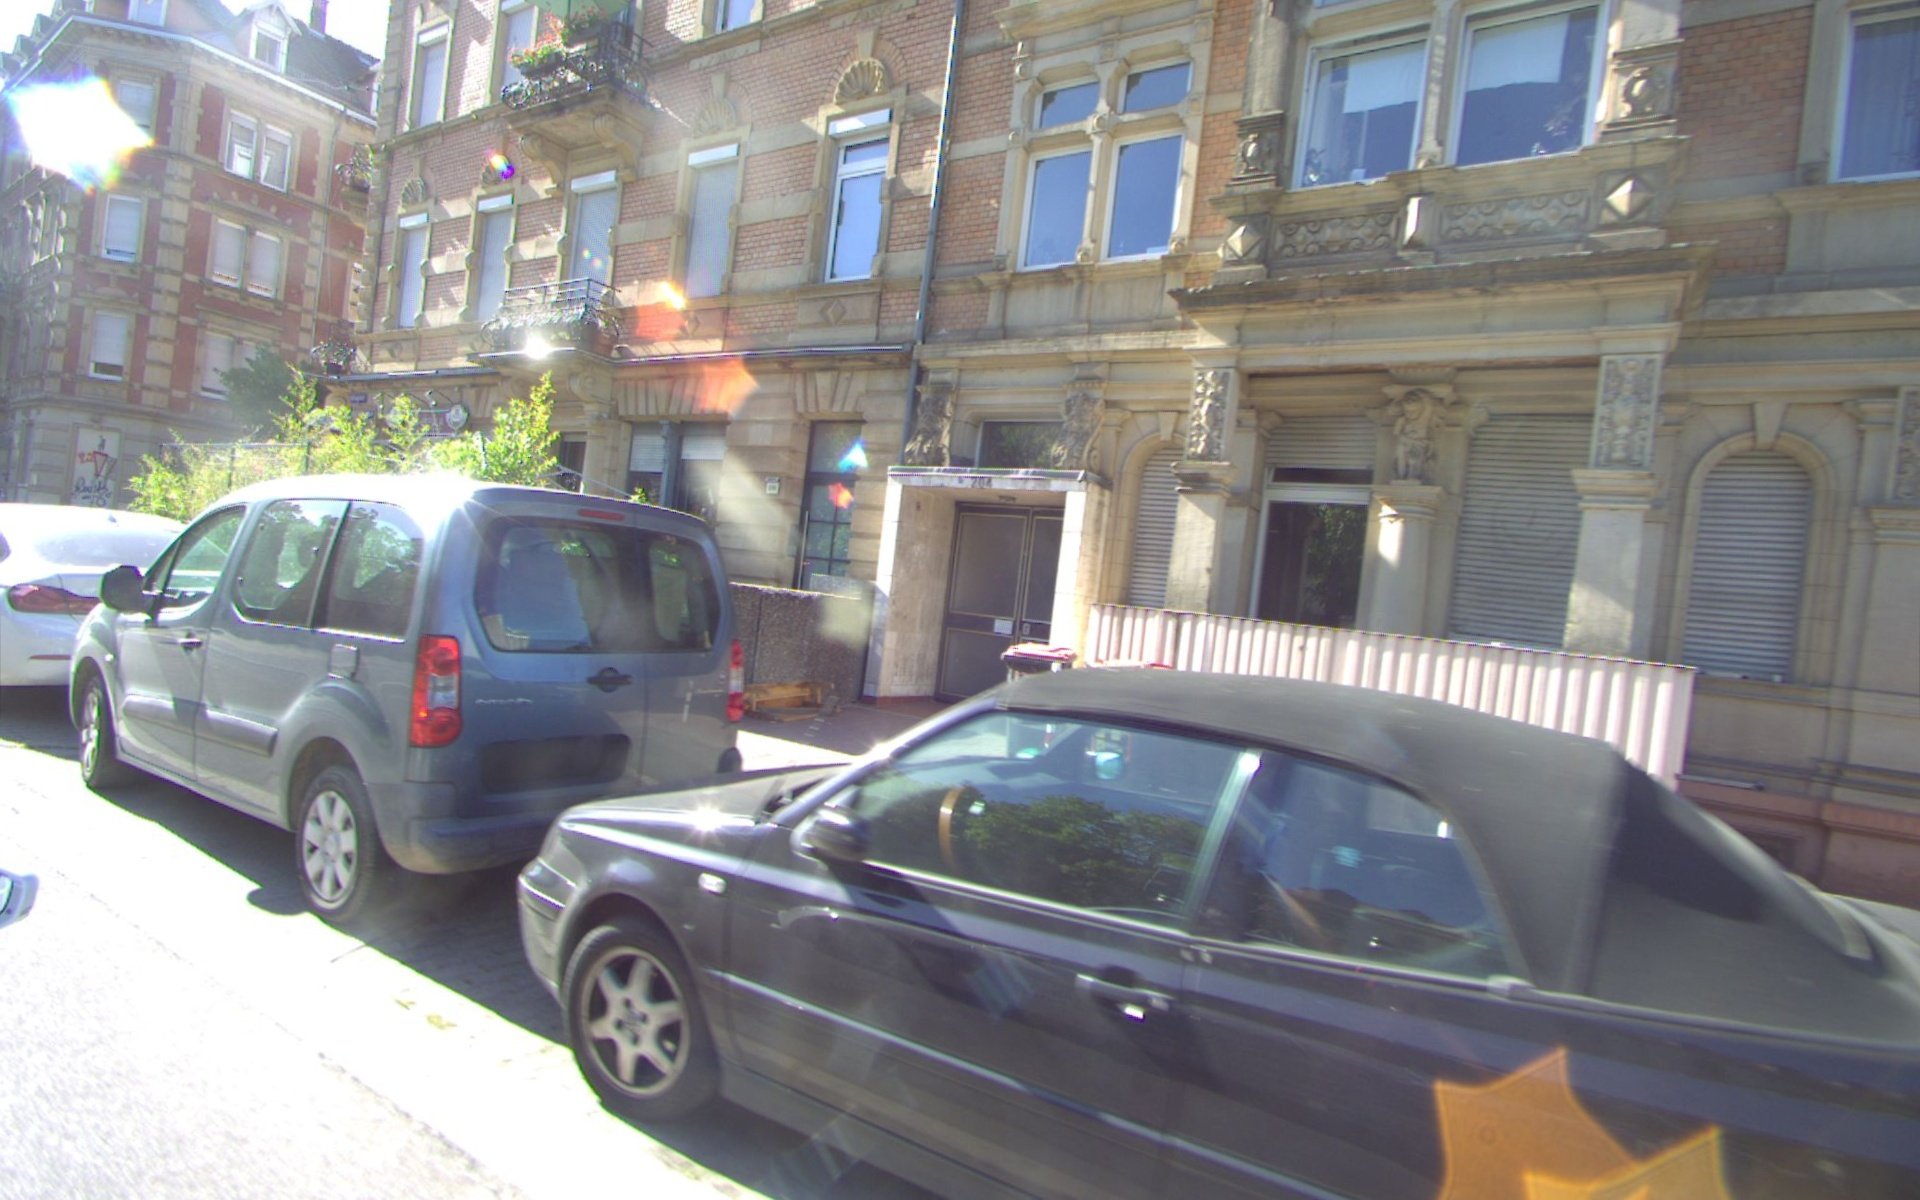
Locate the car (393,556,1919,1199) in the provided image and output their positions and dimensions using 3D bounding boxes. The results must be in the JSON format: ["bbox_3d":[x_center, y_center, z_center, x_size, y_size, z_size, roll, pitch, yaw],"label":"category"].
[{"bbox_3d":[0.351,0.870,2.912,4.205,1.485,1.669,7,-1,34],"label":"car"}]

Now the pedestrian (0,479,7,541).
[{"bbox_3d":[-29.173,-2.733,30.137,0.740,1.836,0.656,3,-3,37],"label":"pedestrian"}]

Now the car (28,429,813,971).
[{"bbox_3d":[-3.093,0.213,5.430,4.294,1.866,1.820,7,0,34],"label":"car"}]

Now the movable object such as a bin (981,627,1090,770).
[{"bbox_3d":[0.678,0.867,8.930,0.599,1.170,0.723,3,-3,33],"label":"movable object such as a bin"}]

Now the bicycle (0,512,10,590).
[{"bbox_3d":[-16.389,-0.883,16.482,1.928,1.235,0.741,6,2,34],"label":"bicycle"}]

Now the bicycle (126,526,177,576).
[{"bbox_3d":[-22.735,-1.392,28.276,1.941,1.108,0.578,10,1,38],"label":"bicycle"}]

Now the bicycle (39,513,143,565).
[{"bbox_3d":[-23.373,-1.619,27.089,1.939,1.108,0.694,7,0,-12],"label":"bicycle"}]

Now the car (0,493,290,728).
[{"bbox_3d":[-7.303,-0.076,8.037,4.137,1.443,1.710,7,1,34],"label":"car"}]

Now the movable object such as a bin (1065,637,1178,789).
[{"bbox_3d":[1.368,0.938,8.478,0.599,1.170,0.760,3,-3,33],"label":"movable object such as a bin"}]

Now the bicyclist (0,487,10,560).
[{"bbox_3d":[-16.308,-1.128,16.456,1.082,1.599,0.742,8,0,33],"label":"bicyclist"}]
